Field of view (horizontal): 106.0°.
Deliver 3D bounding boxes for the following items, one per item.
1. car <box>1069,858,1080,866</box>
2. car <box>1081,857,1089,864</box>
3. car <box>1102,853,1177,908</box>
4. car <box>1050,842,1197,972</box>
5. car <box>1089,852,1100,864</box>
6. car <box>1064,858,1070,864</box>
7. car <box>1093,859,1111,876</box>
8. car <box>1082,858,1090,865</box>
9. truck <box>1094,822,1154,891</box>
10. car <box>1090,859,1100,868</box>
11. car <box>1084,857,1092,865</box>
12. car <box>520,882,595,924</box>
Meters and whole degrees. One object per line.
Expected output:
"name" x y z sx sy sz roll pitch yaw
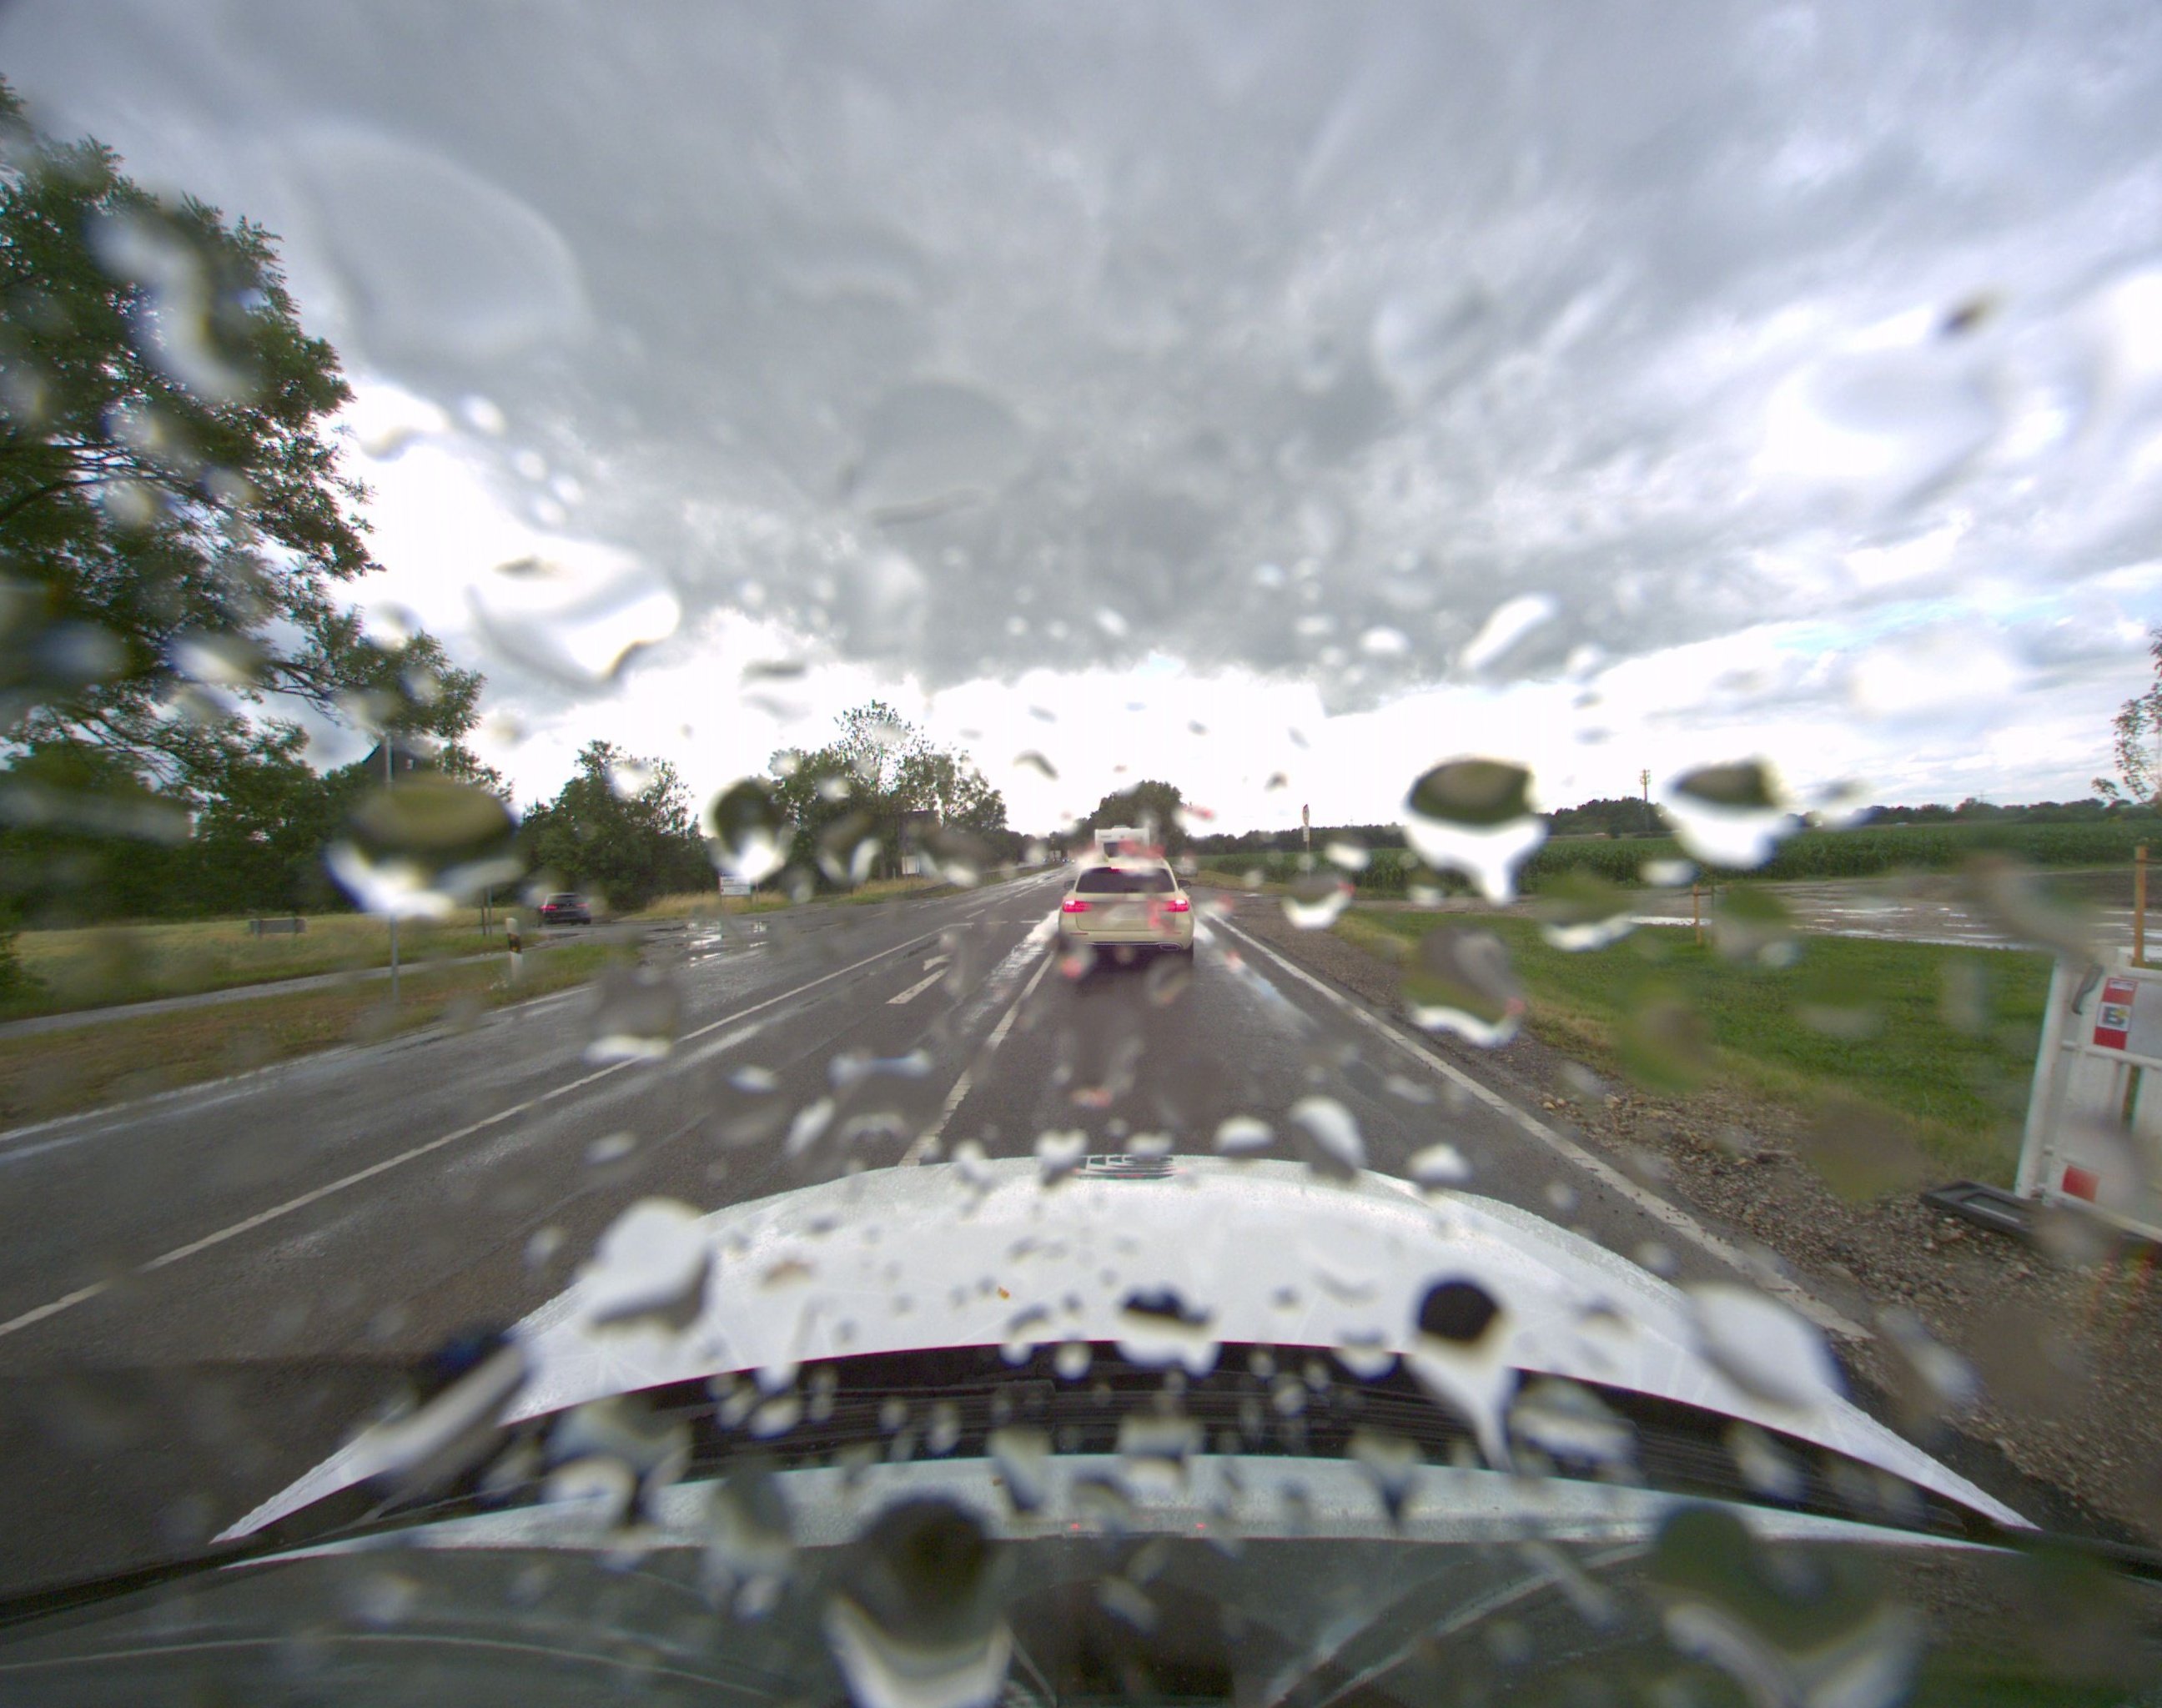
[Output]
"car" -1.250 1.542 158.582 1.821 1.574 4.002 0 -1 2
"car" 0.950 1.738 212.955 1.890 1.895 3.841 -2 0 -1
"car" 1.631 0.735 23.814 1.986 1.462 4.001 0 -1 2
"car" 0.600 0.686 12.269 1.836 1.618 4.001 -1 0 2
"car" 2.277 0.676 135.926 1.784 1.777 3.722 -2 0 2
"car" -3.648 1.808 214.548 1.574 1.640 3.442 -2 0 1
"car" 2.409 1.484 91.184 1.908 1.841 3.797 -2 0 2
"car" 1.162 1.894 204.144 1.744 1.662 3.669 -2 0 -2
"truck" 1.900 0.110 37.034 2.354 2.729 7.317 -2 0 2
"car" 2.663 1.800 154.007 1.872 1.761 3.835 -2 0 2
"car" 1.743 1.669 190.450 1.733 1.860 3.786 -2 0 2
"car" -22.357 2.015 34.713 2.320 1.547 4.580 -2 -1 -37
